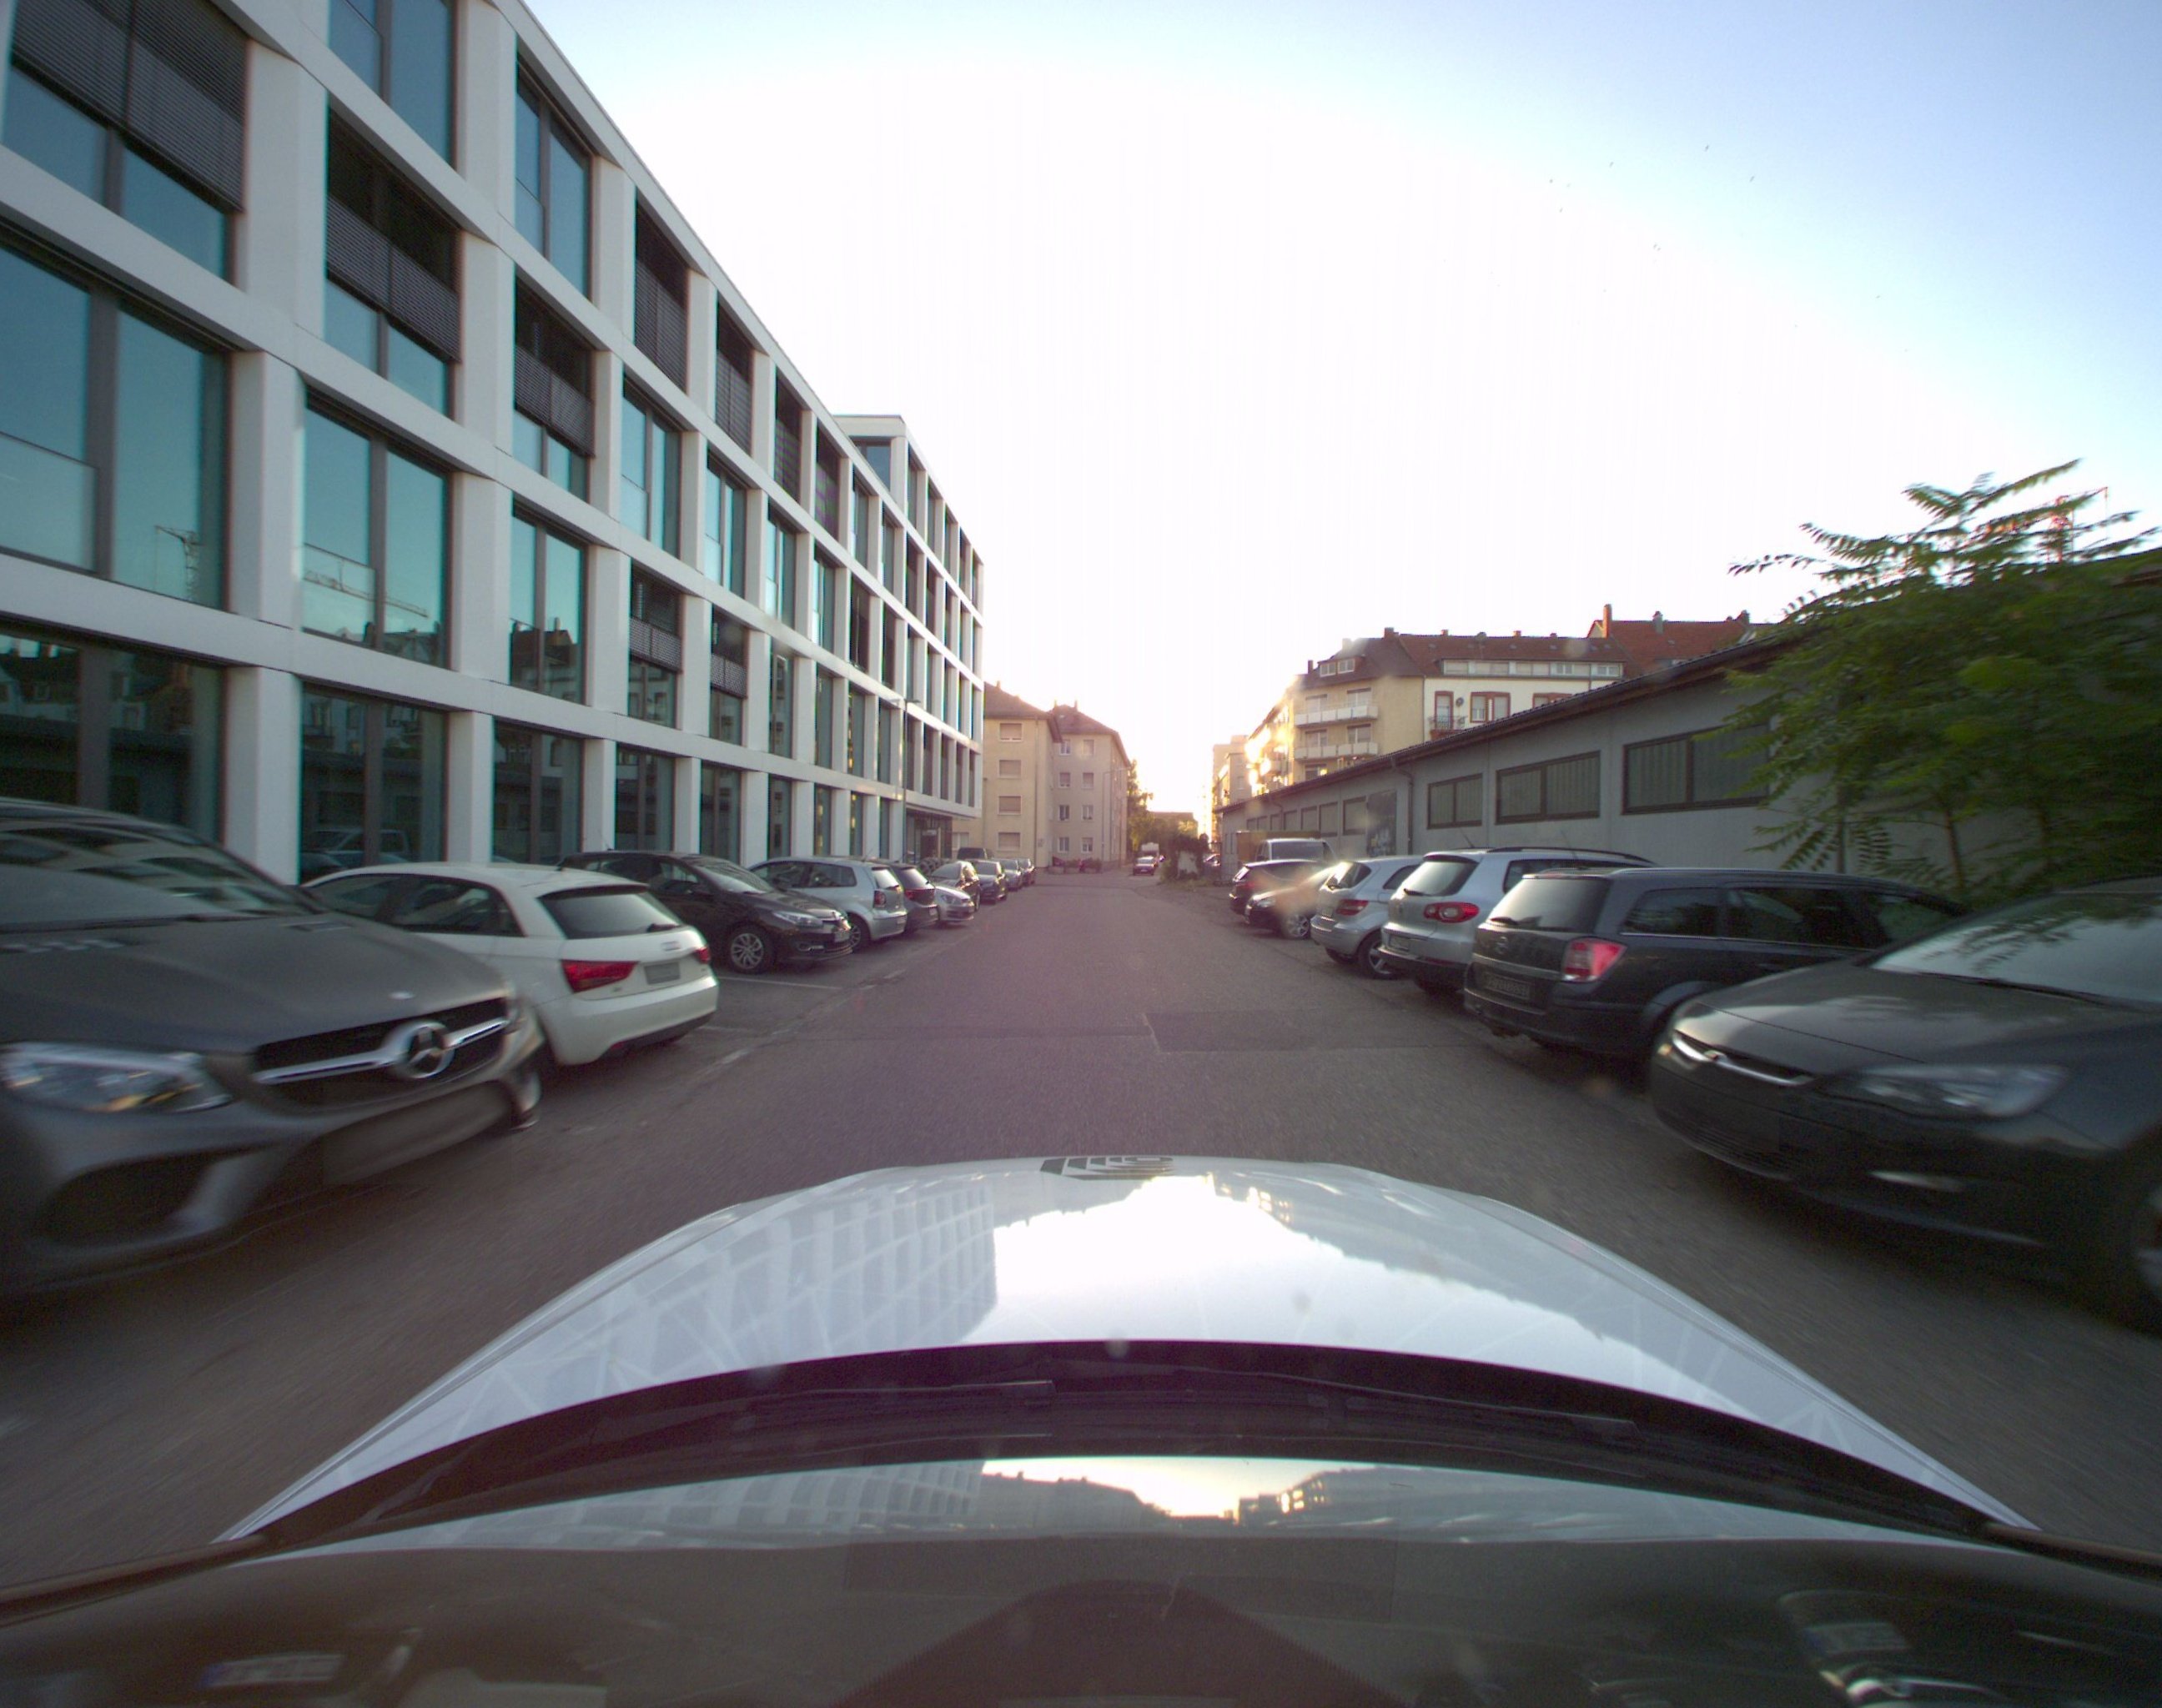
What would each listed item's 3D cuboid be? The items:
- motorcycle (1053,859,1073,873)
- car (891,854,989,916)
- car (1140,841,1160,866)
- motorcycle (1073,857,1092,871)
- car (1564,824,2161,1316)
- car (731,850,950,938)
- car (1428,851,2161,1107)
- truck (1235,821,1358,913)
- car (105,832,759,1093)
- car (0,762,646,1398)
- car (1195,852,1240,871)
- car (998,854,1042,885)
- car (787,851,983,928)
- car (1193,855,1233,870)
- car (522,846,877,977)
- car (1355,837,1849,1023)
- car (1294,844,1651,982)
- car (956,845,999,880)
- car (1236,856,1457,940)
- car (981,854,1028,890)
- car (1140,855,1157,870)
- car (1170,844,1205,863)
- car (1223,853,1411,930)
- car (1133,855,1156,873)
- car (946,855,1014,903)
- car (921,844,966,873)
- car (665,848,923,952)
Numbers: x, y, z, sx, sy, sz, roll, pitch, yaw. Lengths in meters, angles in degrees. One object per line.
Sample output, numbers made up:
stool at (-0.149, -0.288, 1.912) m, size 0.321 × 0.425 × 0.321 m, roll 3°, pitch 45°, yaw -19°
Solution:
motorcycle at (-1.409, 0.930, 65.558) m, size 0.716 × 1.079 × 2.093 m, roll 1°, pitch 0°, yaw 26°
car at (-3.786, 0.788, 22.522) m, size 1.641 × 1.438 × 4.206 m, roll 4°, pitch 0°, yaw 3°
car at (9.836, -0.043, 115.028) m, size 2.606 × 3.269 × 7.709 m, roll -1°, pitch 0°, yaw 6°
motorcycle at (0.126, 0.860, 67.994) m, size 0.682 × 1.160 × 2.046 m, roll 1°, pitch 0°, yaw 30°
car at (4.677, 0.727, 3.405) m, size 4.184 × 1.503 × 1.892 m, roll 2°, pitch -1°, yaw 4°
car at (-4.571, 0.724, 15.793) m, size 3.638 × 1.511 × 1.690 m, roll 2°, pitch 0°, yaw 4°
car at (4.877, 0.772, 5.901) m, size 3.967 × 1.445 × 1.828 m, roll 2°, pitch -1°, yaw 2°
truck at (5.721, 0.328, 22.475) m, size 2.089 × 2.200 × 5.714 m, roll 1°, pitch 0°, yaw 2°
car at (-4.586, 0.658, 6.065) m, size 3.646 × 1.511 × 1.700 m, roll 2°, pitch 0°, yaw 7°
car at (-4.674, 0.541, 3.468) m, size 4.593 × 1.706 × 2.009 m, roll 2°, pitch 0°, yaw 7°
car at (15.072, 0.838, 90.230) m, size 4.700 × 1.909 × 2.062 m, roll -1°, pitch -1°, yaw 4°
car at (-3.230, 0.795, 43.844) m, size 1.773 × 1.479 × 4.334 m, roll 4°, pitch 0°, yaw 2°
car at (-4.344, 0.755, 18.377) m, size 3.908 × 1.511 × 1.690 m, roll 2°, pitch 0°, yaw 5°
car at (15.000, 0.970, 92.528) m, size 4.303 × 1.637 × 1.820 m, roll -1°, pitch -1°, yaw 4°
car at (-5.037, 0.700, 11.087) m, size 3.945 × 1.511 × 1.798 m, roll 2°, pitch 0°, yaw 5°
car at (5.136, 0.709, 8.436) m, size 3.972 × 1.619 × 1.826 m, roll 2°, pitch 0°, yaw -1°
car at (5.156, 0.738, 11.186) m, size 3.969 × 1.609 × 1.939 m, roll 2°, pitch 0°, yaw 1°
car at (-6.143, 0.448, 48.899) m, size 1.791 × 1.979 × 4.692 m, roll 1°, pitch 1°, yaw 2°
car at (5.090, 0.825, 16.008) m, size 3.746 × 1.444 × 1.845 m, roll 2°, pitch -1°, yaw 1°
car at (-3.502, 0.802, 38.089) m, size 1.705 × 1.479 × 4.184 m, roll 4°, pitch 0°, yaw 0°
car at (6.839, 0.894, 82.774) m, size 1.608 × 1.473 × 3.509 m, roll -1°, pitch 0°, yaw 4°
car at (15.595, -0.080, 119.345) m, size 4.772 × 2.717 × 2.148 m, roll -1°, pitch -1°, yaw 43°
car at (5.235, 0.794, 18.476) m, size 3.743 × 1.535 × 1.893 m, roll 1°, pitch 1°, yaw 3°
car at (5.439, 0.851, 69.675) m, size 1.837 × 1.473 × 4.083 m, roll 0°, pitch 0°, yaw 4°
car at (-3.407, 0.810, 28.255) m, size 1.642 × 1.438 × 4.186 m, roll 4°, pitch 0°, yaw 1°
car at (-8.184, 0.299, 48.836) m, size 1.772 × 1.550 × 4.333 m, roll 1°, pitch -2°, yaw 2°
car at (-4.702, 0.711, 13.657) m, size 3.638 × 1.511 × 1.690 m, roll 2°, pitch 0°, yaw 4°
